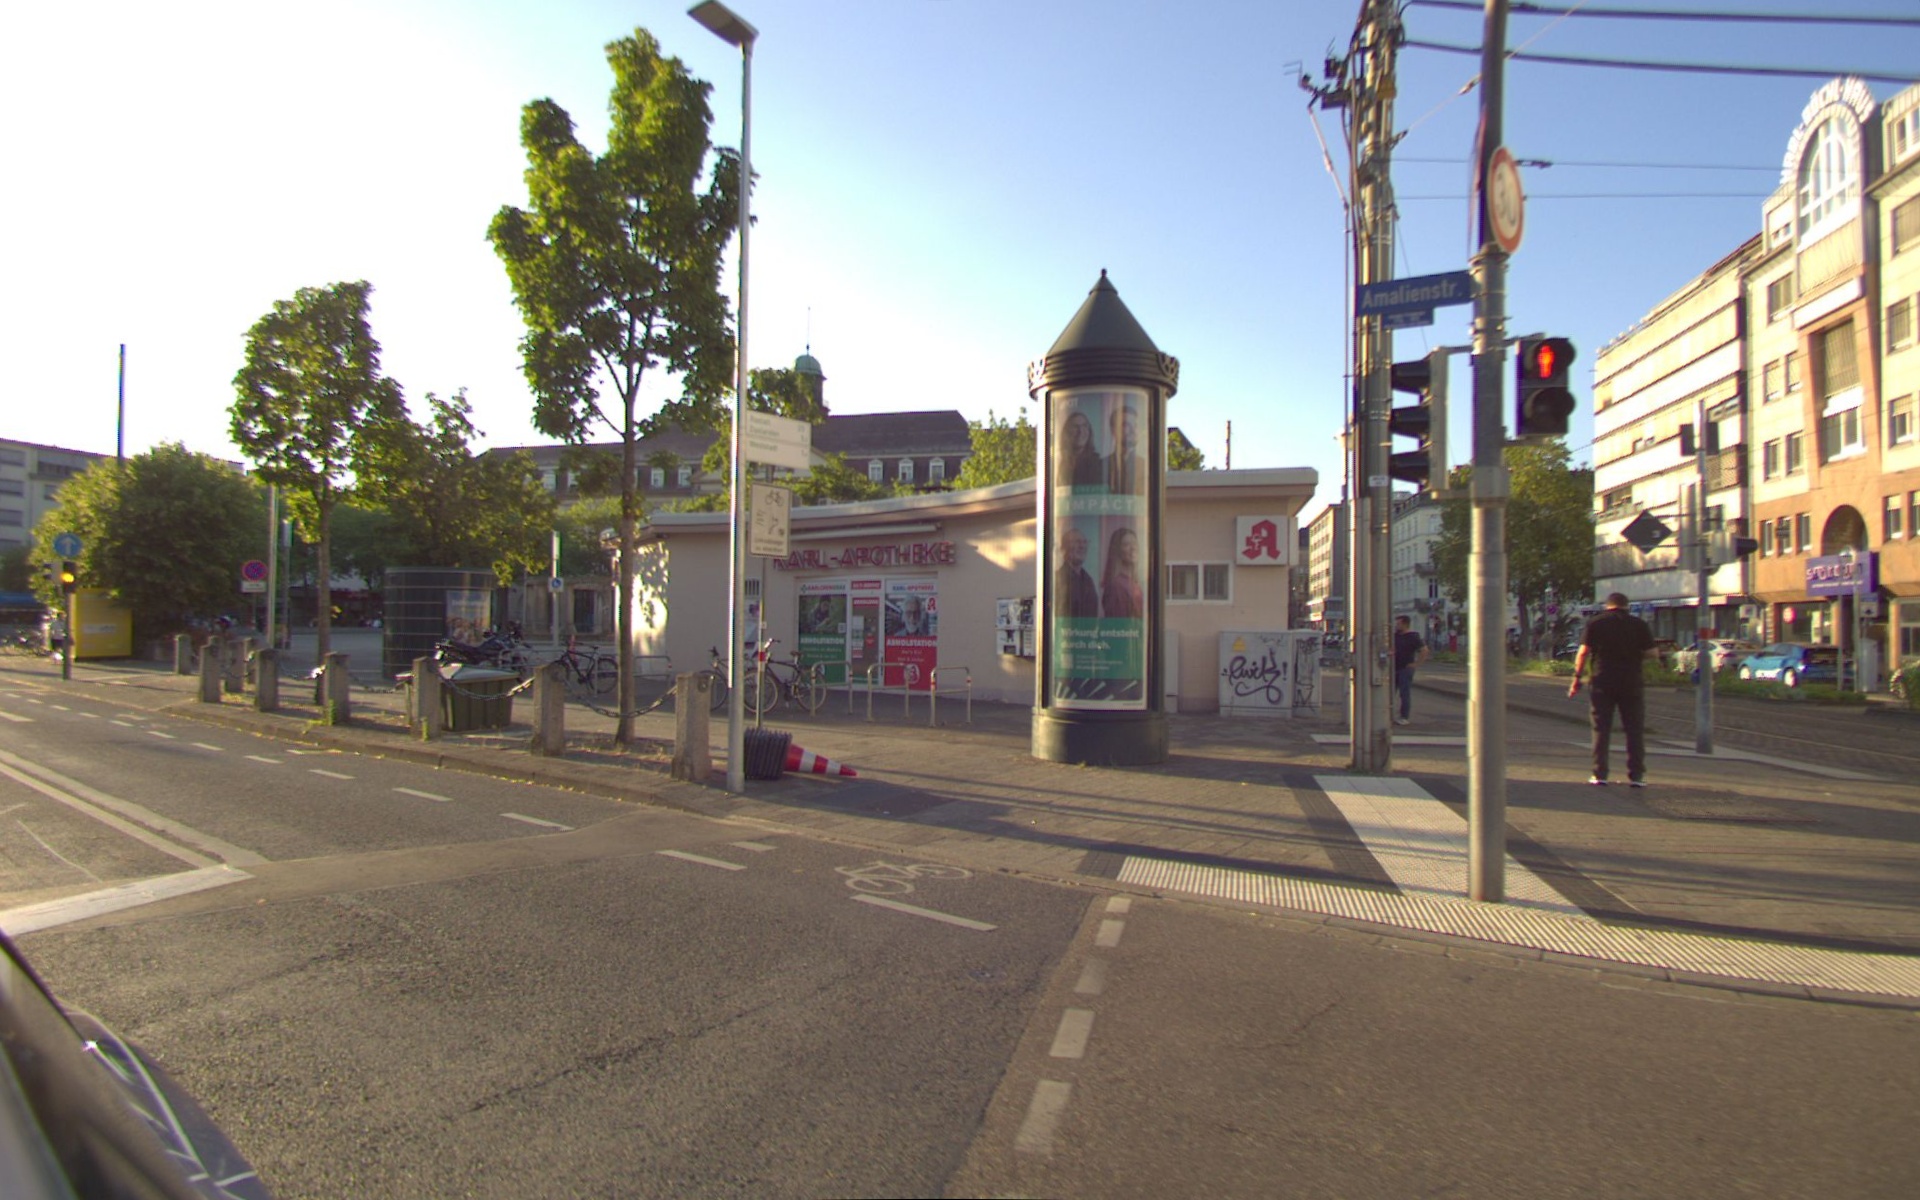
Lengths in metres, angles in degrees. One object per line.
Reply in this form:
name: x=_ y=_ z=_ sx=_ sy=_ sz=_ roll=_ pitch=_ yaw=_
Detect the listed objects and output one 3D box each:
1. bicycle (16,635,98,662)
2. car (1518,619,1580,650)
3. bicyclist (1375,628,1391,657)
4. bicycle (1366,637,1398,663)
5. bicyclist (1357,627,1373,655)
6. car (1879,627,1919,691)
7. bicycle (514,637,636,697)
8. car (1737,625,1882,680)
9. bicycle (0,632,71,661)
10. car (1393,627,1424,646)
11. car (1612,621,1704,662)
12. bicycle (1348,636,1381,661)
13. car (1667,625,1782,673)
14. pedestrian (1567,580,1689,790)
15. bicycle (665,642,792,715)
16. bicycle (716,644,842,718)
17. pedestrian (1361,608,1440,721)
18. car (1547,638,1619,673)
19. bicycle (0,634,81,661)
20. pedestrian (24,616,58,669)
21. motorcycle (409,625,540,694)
bicycle: x=-35.219 y=1.876 z=39.496 sx=0.673 sy=0.966 sz=2.367 roll=0 pitch=0 yaw=44
car: x=34.524 y=2.010 z=59.465 sx=2.031 sy=1.750 sz=4.585 roll=-1 pitch=-2 yaw=16
bicyclist: x=25.573 y=2.537 z=61.214 sx=0.644 sy=1.724 sz=0.622 roll=0 pitch=0 yaw=-34
bicycle: x=25.535 y=2.992 z=61.202 sx=2.378 sy=1.497 sz=0.617 roll=0 pitch=0 yaw=-34
bicyclist: x=25.129 y=2.533 z=62.857 sx=0.776 sy=1.733 sz=0.595 roll=0 pitch=0 yaw=-34
car: x=27.235 y=1.599 z=27.064 sx=2.031 sy=1.750 sz=4.585 roll=-1 pitch=-2 yaw=16
bicycle: x=-7.596 y=1.314 z=20.085 sx=0.778 sy=1.096 sz=2.155 roll=0 pitch=-2 yaw=37
car: x=28.960 y=1.740 z=34.711 sx=2.031 sy=1.750 sz=4.585 roll=-1 pitch=-2 yaw=16
bicycle: x=-37.549 y=1.863 z=40.913 sx=0.673 sy=1.079 sz=2.367 roll=0 pitch=0 yaw=44
car: x=43.185 y=3.491 z=97.530 sx=2.031 sy=1.750 sz=4.585 roll=-1 pitch=-2 yaw=16
car: x=32.114 y=1.898 z=46.721 sx=2.031 sy=1.750 sz=4.585 roll=-1 pitch=-2 yaw=16
bicycle: x=25.156 y=3.003 z=62.877 sx=2.458 sy=1.497 sz=0.595 roll=0 pitch=0 yaw=-34
car: x=29.986 y=1.889 z=39.870 sx=2.031 sy=1.750 sz=4.585 roll=-1 pitch=-2 yaw=16
pedestrian: x=6.146 y=0.730 z=9.306 sx=0.880 sy=1.798 sz=0.895 roll=0 pitch=0 yaw=38
bicycle: x=-3.860 y=1.276 z=17.086 sx=0.776 sy=1.096 sz=2.199 roll=0 pitch=-1 yaw=31
bicycle: x=-2.906 y=1.279 z=16.493 sx=0.776 sy=1.096 sz=2.174 roll=0 pitch=-2 yaw=31
pedestrian: x=6.778 y=0.979 z=15.615 sx=0.895 sy=1.689 sz=0.779 roll=0 pitch=0 yaw=3
car: x=33.082 y=2.913 z=53.901 sx=2.031 sy=1.750 sz=4.585 roll=-1 pitch=-2 yaw=16
bicycle: x=-36.246 y=1.873 z=39.904 sx=0.673 sy=0.966 sz=2.367 roll=0 pitch=0 yaw=44
pedestrian: x=-30.374 y=1.397 z=33.440 sx=0.907 sy=1.689 sz=0.768 roll=0 pitch=0 yaw=45
motorcycle: x=-10.397 y=1.236 z=21.748 sx=0.779 sy=1.376 sz=2.418 roll=-2 pitch=-2 yaw=42
